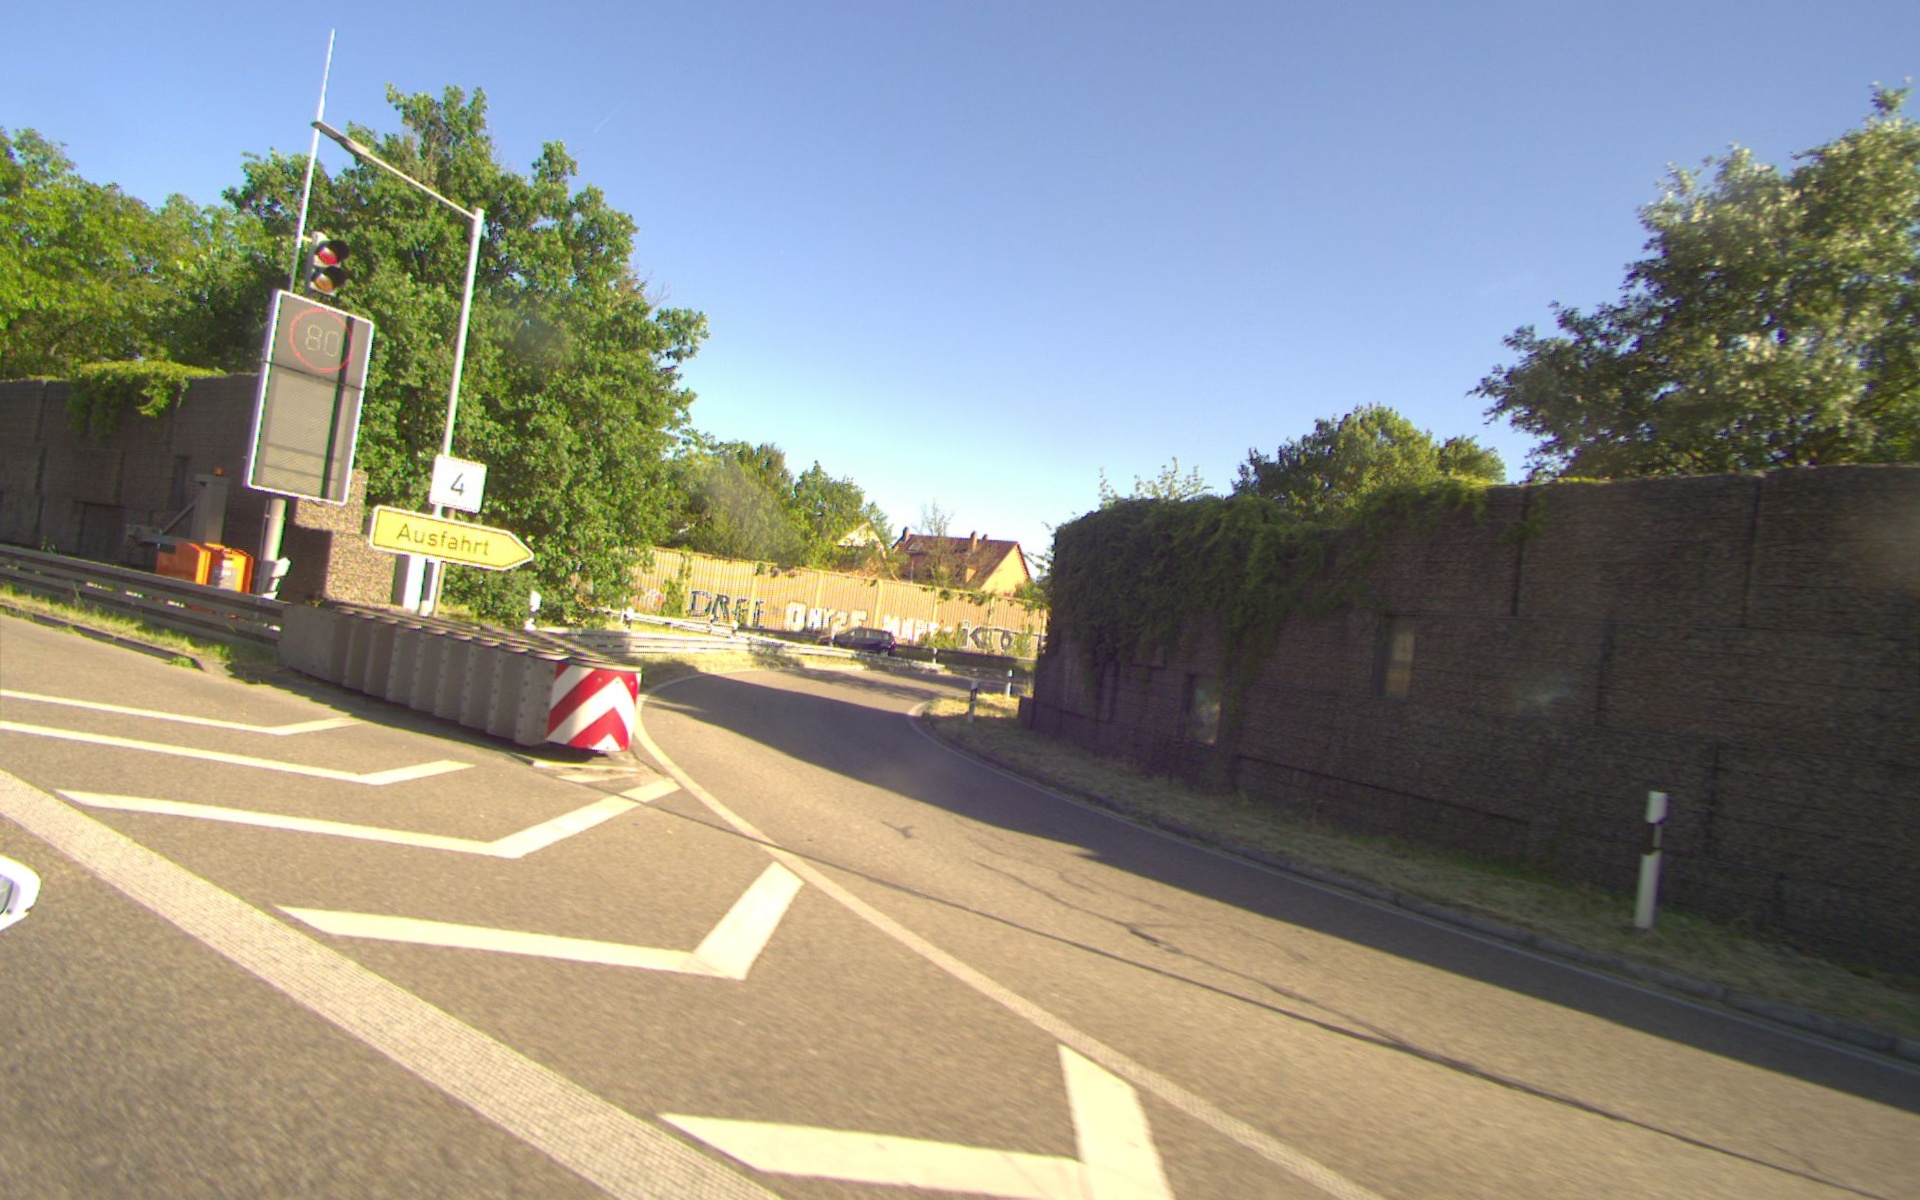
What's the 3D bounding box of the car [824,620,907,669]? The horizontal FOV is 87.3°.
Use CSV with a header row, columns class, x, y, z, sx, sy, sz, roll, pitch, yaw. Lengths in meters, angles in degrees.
class,x,y,z,sx,sy,sz,roll,pitch,yaw
car,-5.214,2.450,55.378,3.950,2.035,1.967,11,-3,-22
